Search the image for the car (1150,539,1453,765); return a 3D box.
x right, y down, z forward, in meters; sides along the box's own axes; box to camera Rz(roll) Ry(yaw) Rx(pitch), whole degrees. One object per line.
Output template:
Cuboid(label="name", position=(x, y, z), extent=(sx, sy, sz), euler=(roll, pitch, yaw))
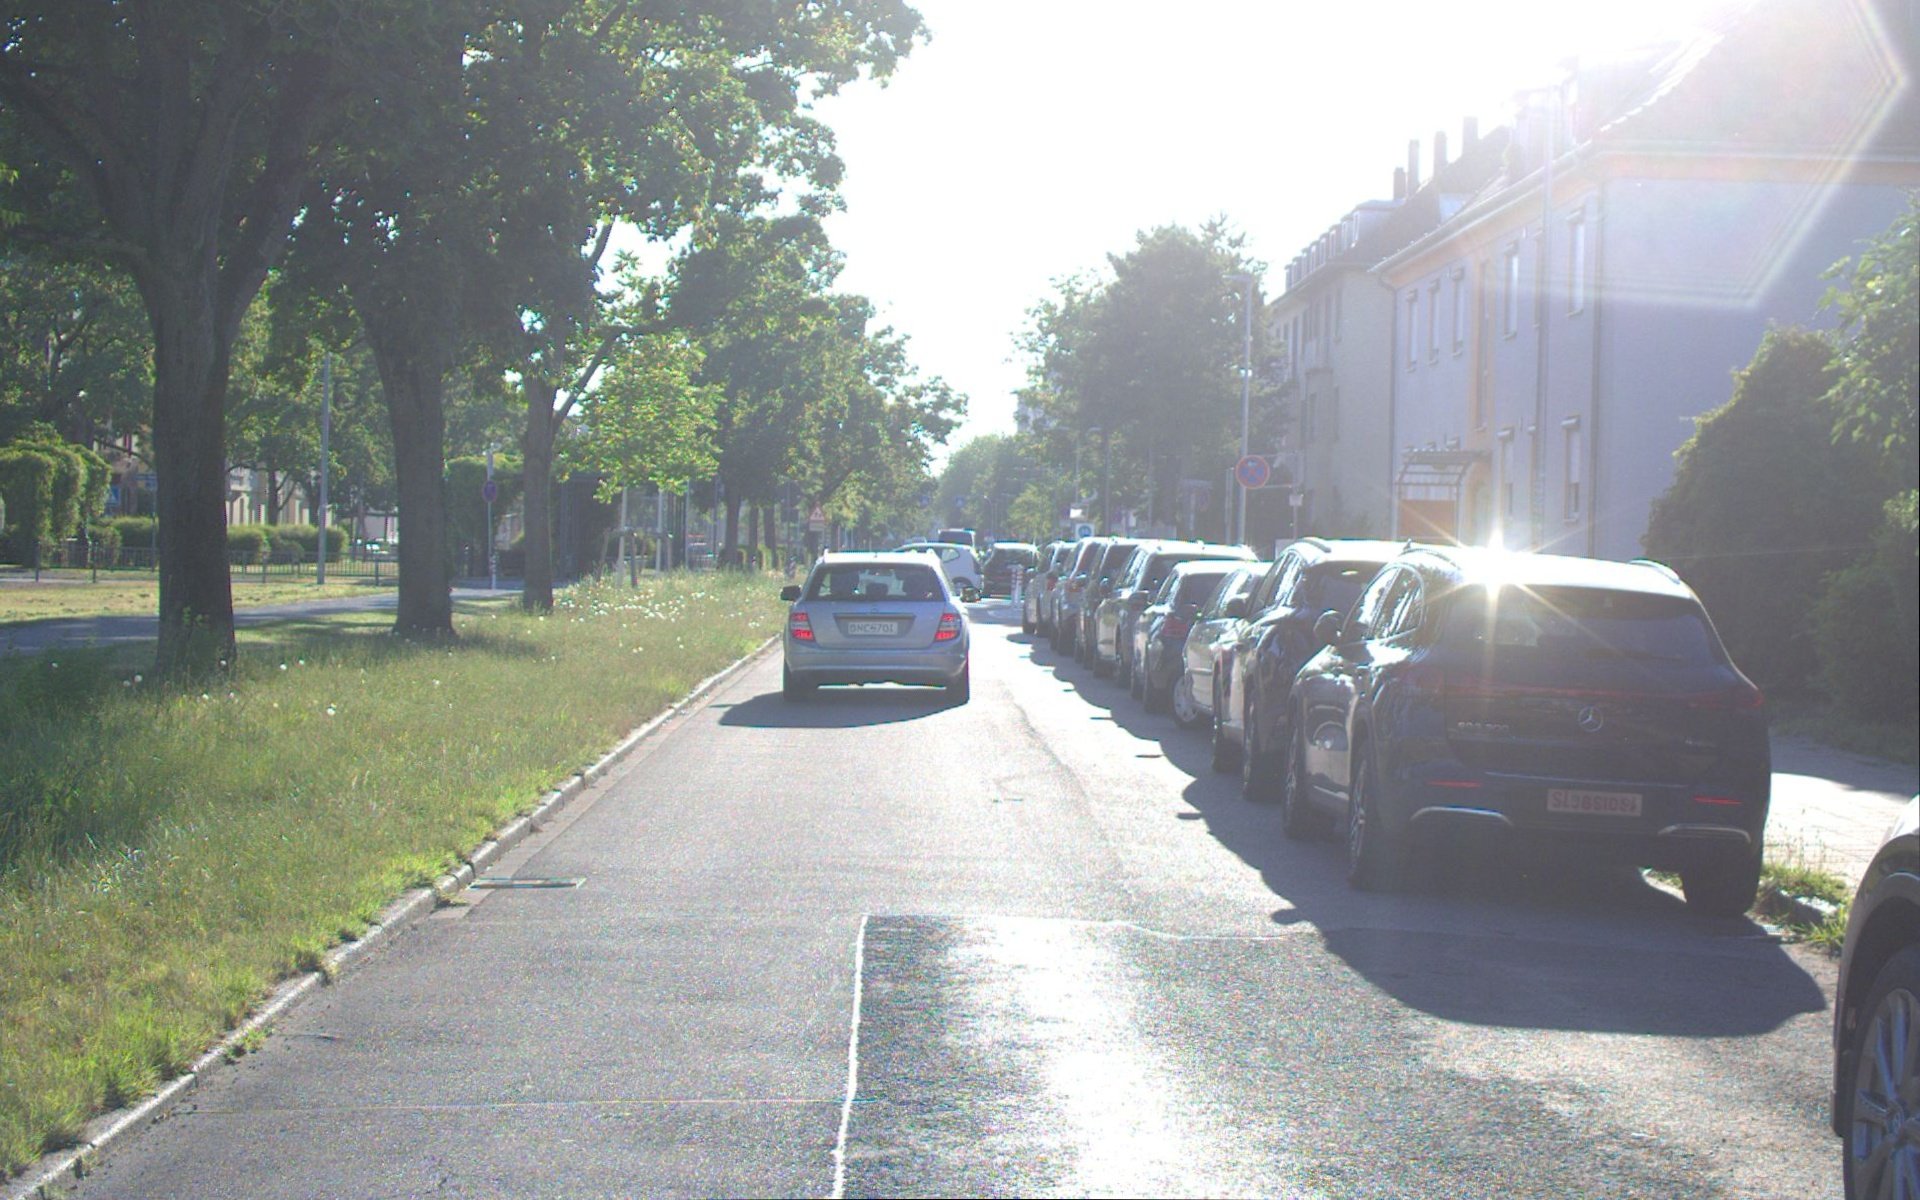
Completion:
Cuboid(label="car", position=(2.705, 0.382, 28.159), extent=(1.728, 1.543, 4.208), euler=(6, 0, -3))

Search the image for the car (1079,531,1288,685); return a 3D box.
Cuboid(label="car", position=(2.423, 0.049, 38.277), extent=(1.724, 1.556, 4.417), euler=(2, 1, -4))

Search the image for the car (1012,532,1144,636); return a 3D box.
Cuboid(label="car", position=(2.006, -0.302, 59.712), extent=(1.716, 1.633, 4.565), euler=(3, 1, -4))

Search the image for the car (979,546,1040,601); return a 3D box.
Cuboid(label="car", position=(1.469, -0.782, 103.598), extent=(1.721, 1.591, 4.000), euler=(1, 0, 0))

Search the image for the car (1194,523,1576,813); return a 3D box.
Cuboid(label="car", position=(2.696, 0.357, 22.901), extent=(1.854, 1.651, 4.820), euler=(3, 1, 0))

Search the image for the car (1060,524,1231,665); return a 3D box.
Cuboid(label="car", position=(2.315, -0.077, 44.085), extent=(1.765, 1.629, 4.765), euler=(3, 0, -1))

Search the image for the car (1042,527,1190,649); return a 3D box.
Cuboid(label="car", position=(2.186, -0.183, 49.267), extent=(1.777, 1.637, 4.757), euler=(1, 0, -1))

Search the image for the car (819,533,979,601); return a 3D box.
Cuboid(label="car", position=(-1.551, -0.844, 88.341), extent=(3.893, 1.591, 2.000), euler=(-2, 0, 4))

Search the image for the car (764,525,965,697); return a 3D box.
Cuboid(label="car", position=(-0.881, 0.056, 33.381), extent=(1.823, 1.561, 4.000), euler=(0, 1, 0))

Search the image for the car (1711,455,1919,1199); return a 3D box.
Cuboid(label="car", position=(2.788, 0.640, 5.593), extent=(1.832, 1.726, 5.032), euler=(4, 0, -1))

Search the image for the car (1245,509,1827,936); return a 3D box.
Cuboid(label="car", position=(2.686, 0.487, 17.188), extent=(1.933, 1.714, 4.622), euler=(4, 1, -1))

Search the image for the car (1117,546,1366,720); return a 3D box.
Cuboid(label="car", position=(2.625, 0.259, 33.104), extent=(1.993, 1.457, 4.561), euler=(3, 1, 1))
